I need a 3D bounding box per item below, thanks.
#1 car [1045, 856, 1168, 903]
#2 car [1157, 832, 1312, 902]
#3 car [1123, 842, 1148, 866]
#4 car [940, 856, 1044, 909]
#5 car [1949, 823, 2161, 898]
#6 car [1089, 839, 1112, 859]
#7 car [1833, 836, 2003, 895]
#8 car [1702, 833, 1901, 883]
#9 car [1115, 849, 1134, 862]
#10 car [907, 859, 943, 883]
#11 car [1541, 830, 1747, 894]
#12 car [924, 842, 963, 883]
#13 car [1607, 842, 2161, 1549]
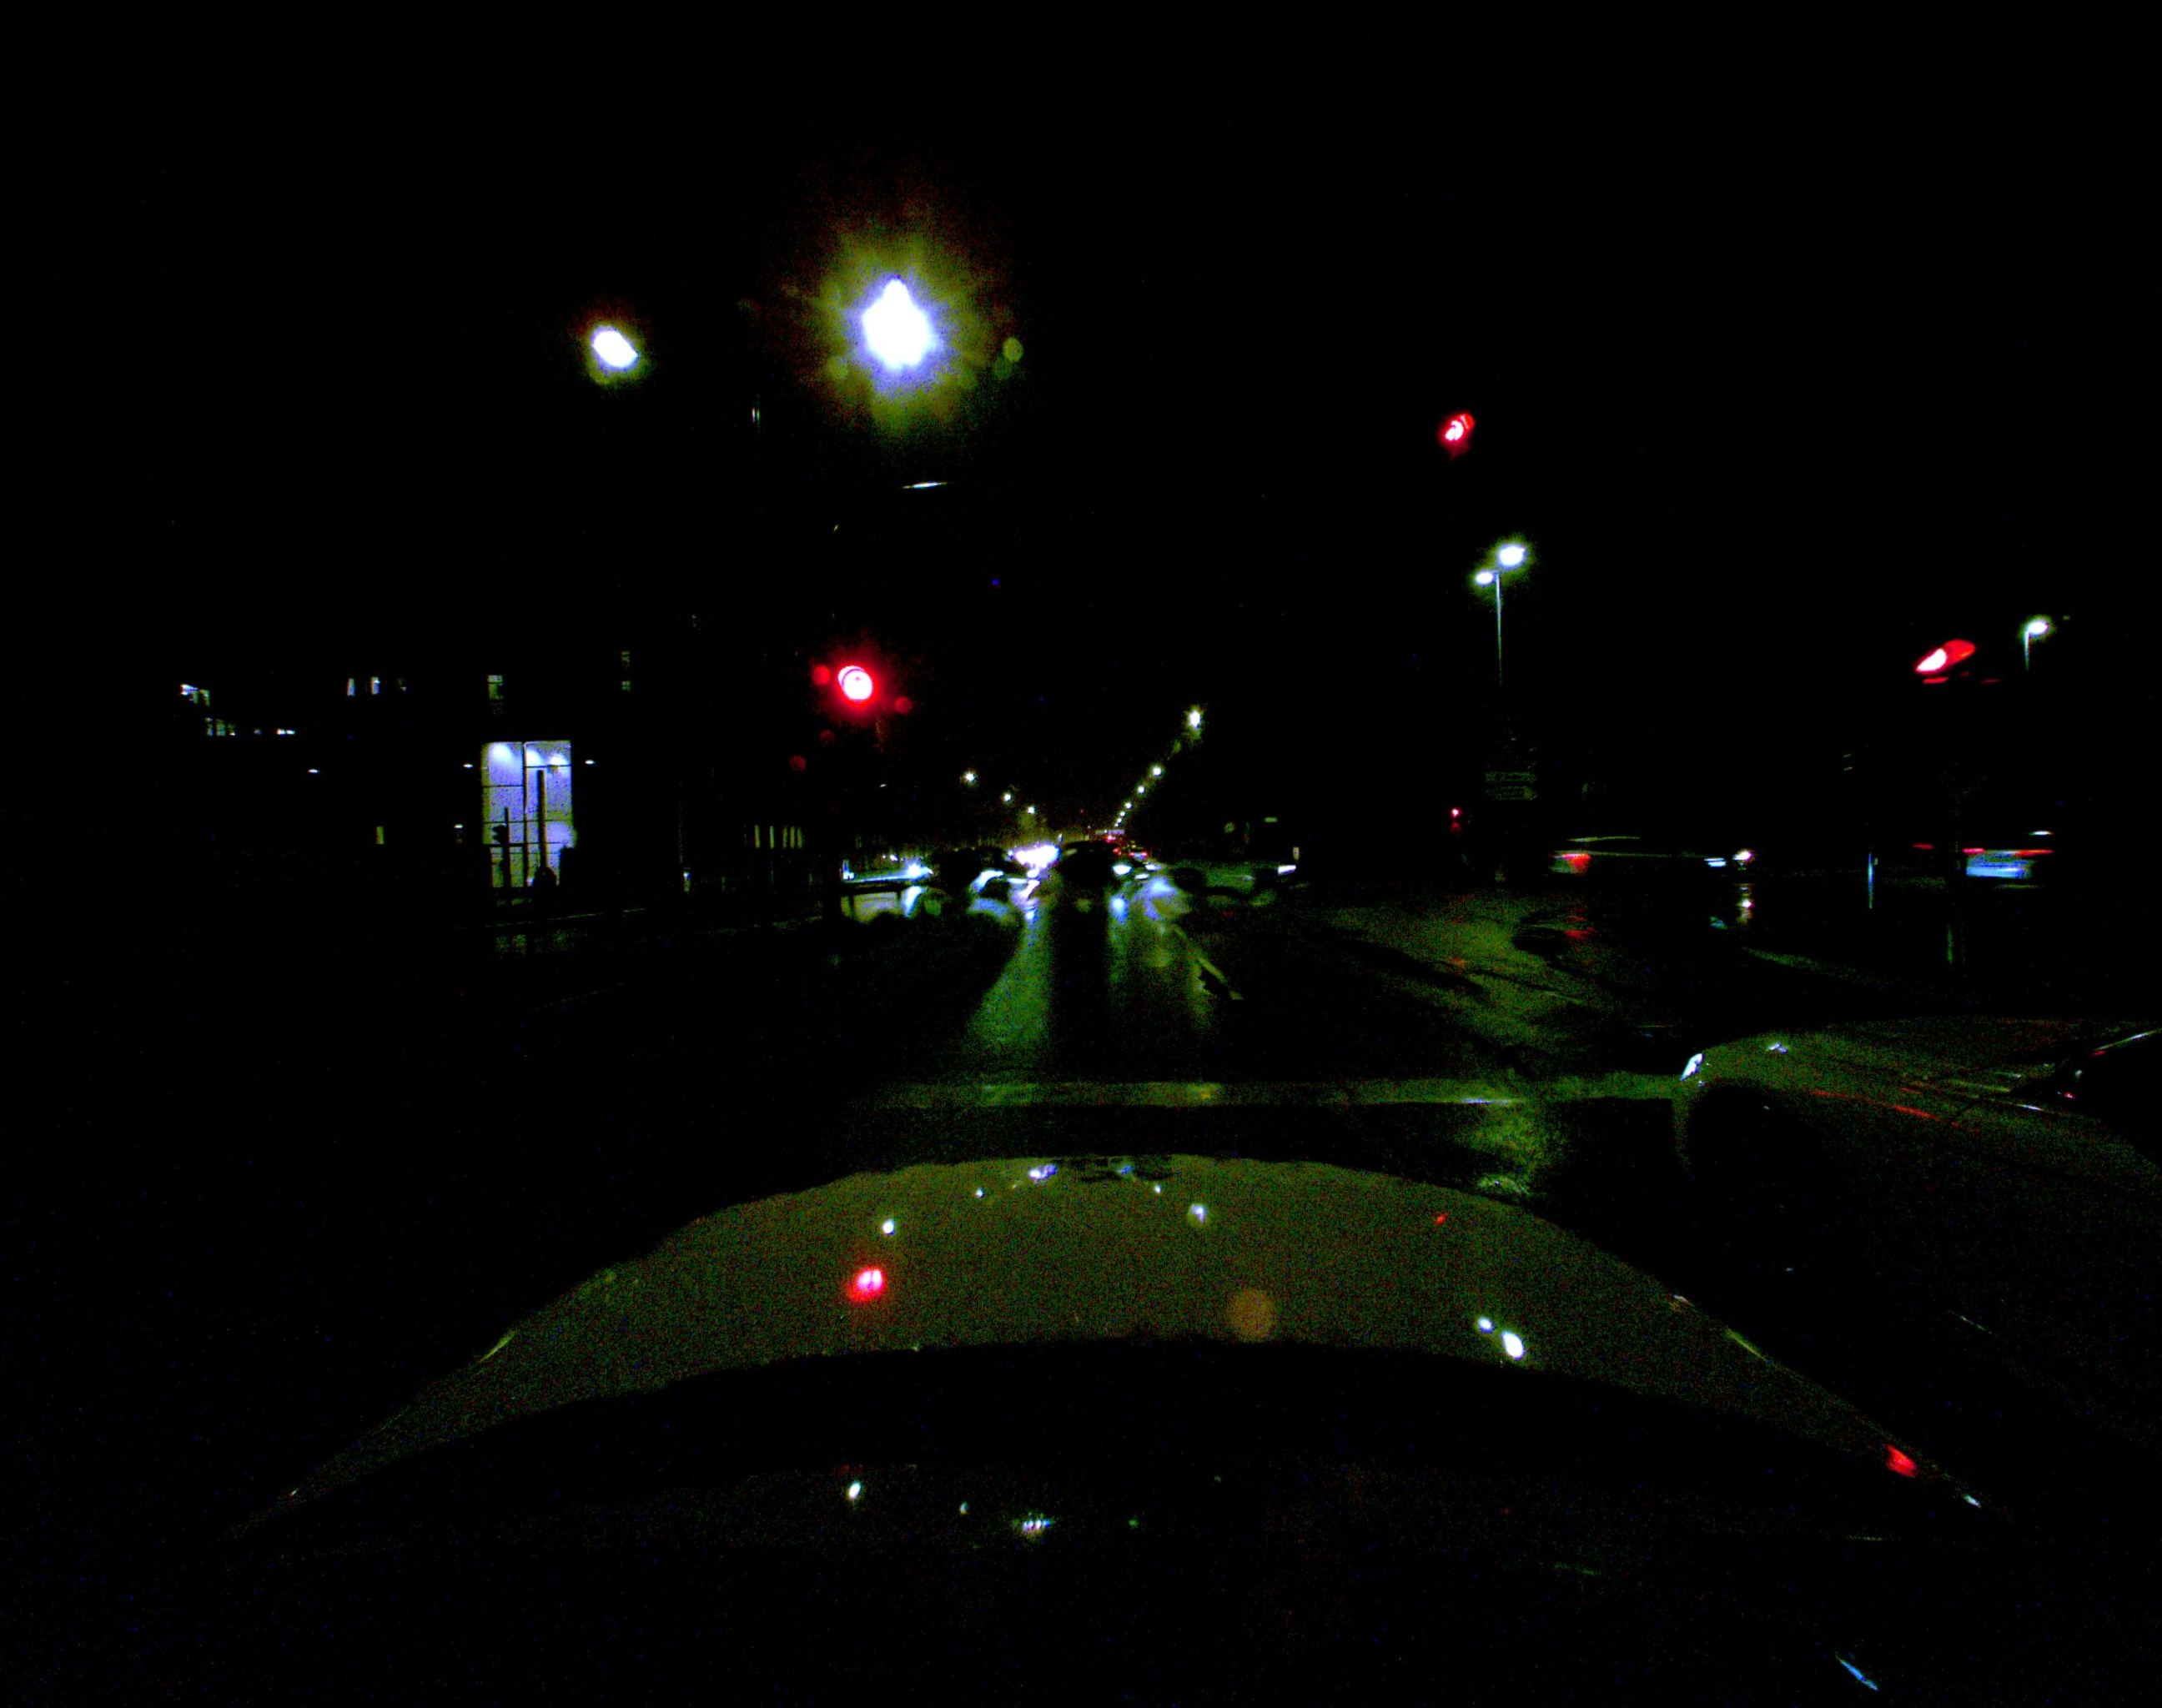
[{"bbox_3d":[0.884,0.914,30.376,4.457,1.618,1.919,-2,-1,44],"label":"car"},{"bbox_3d":[4.098,0.355,21.805,3.717,1.734,1.733,-1,-1,27],"label":"car"},{"bbox_3d":[4.908,0.028,72.700,2.027,2.014,4.315,-1,-1,7],"label":"car"},{"bbox_3d":[-3.163,0.930,28.068,1.965,1.672,4.374,0,-1,-30],"label":"car"},{"bbox_3d":[23.680,0.142,19.214,4.398,1.649,1.837,-1,-1,1],"label":"car"},{"bbox_3d":[2.266,-0.569,95.480,2.434,2.194,5.076,-1,-1,-1],"label":"car"},{"bbox_3d":[30.598,0.423,29.891,3.967,2.014,2.003,-1,-1,5],"label":"car"},{"bbox_3d":[24.281,0.152,27.618,4.823,1.590,1.857,-1,-1,8],"label":"car"},{"bbox_3d":[5.522,0.208,103.167,2.085,1.545,4.304,-1,-1,-1],"label":"car"},{"bbox_3d":[-10.223,1.085,53.503,1.694,1.516,3.565,-1,-1,-1],"label":"car"},{"bbox_3d":[15.798,0.241,23.072,4.421,1.671,1.845,-1,-1,10],"label":"car"},{"bbox_3d":[-7.092,0.423,42.224,1.696,2.014,3.561,-1,-1,-5],"label":"car"},{"bbox_3d":[3.106,0.705,1.275,1.714,1.446,4.383,-3,-1,1],"label":"car"}]
